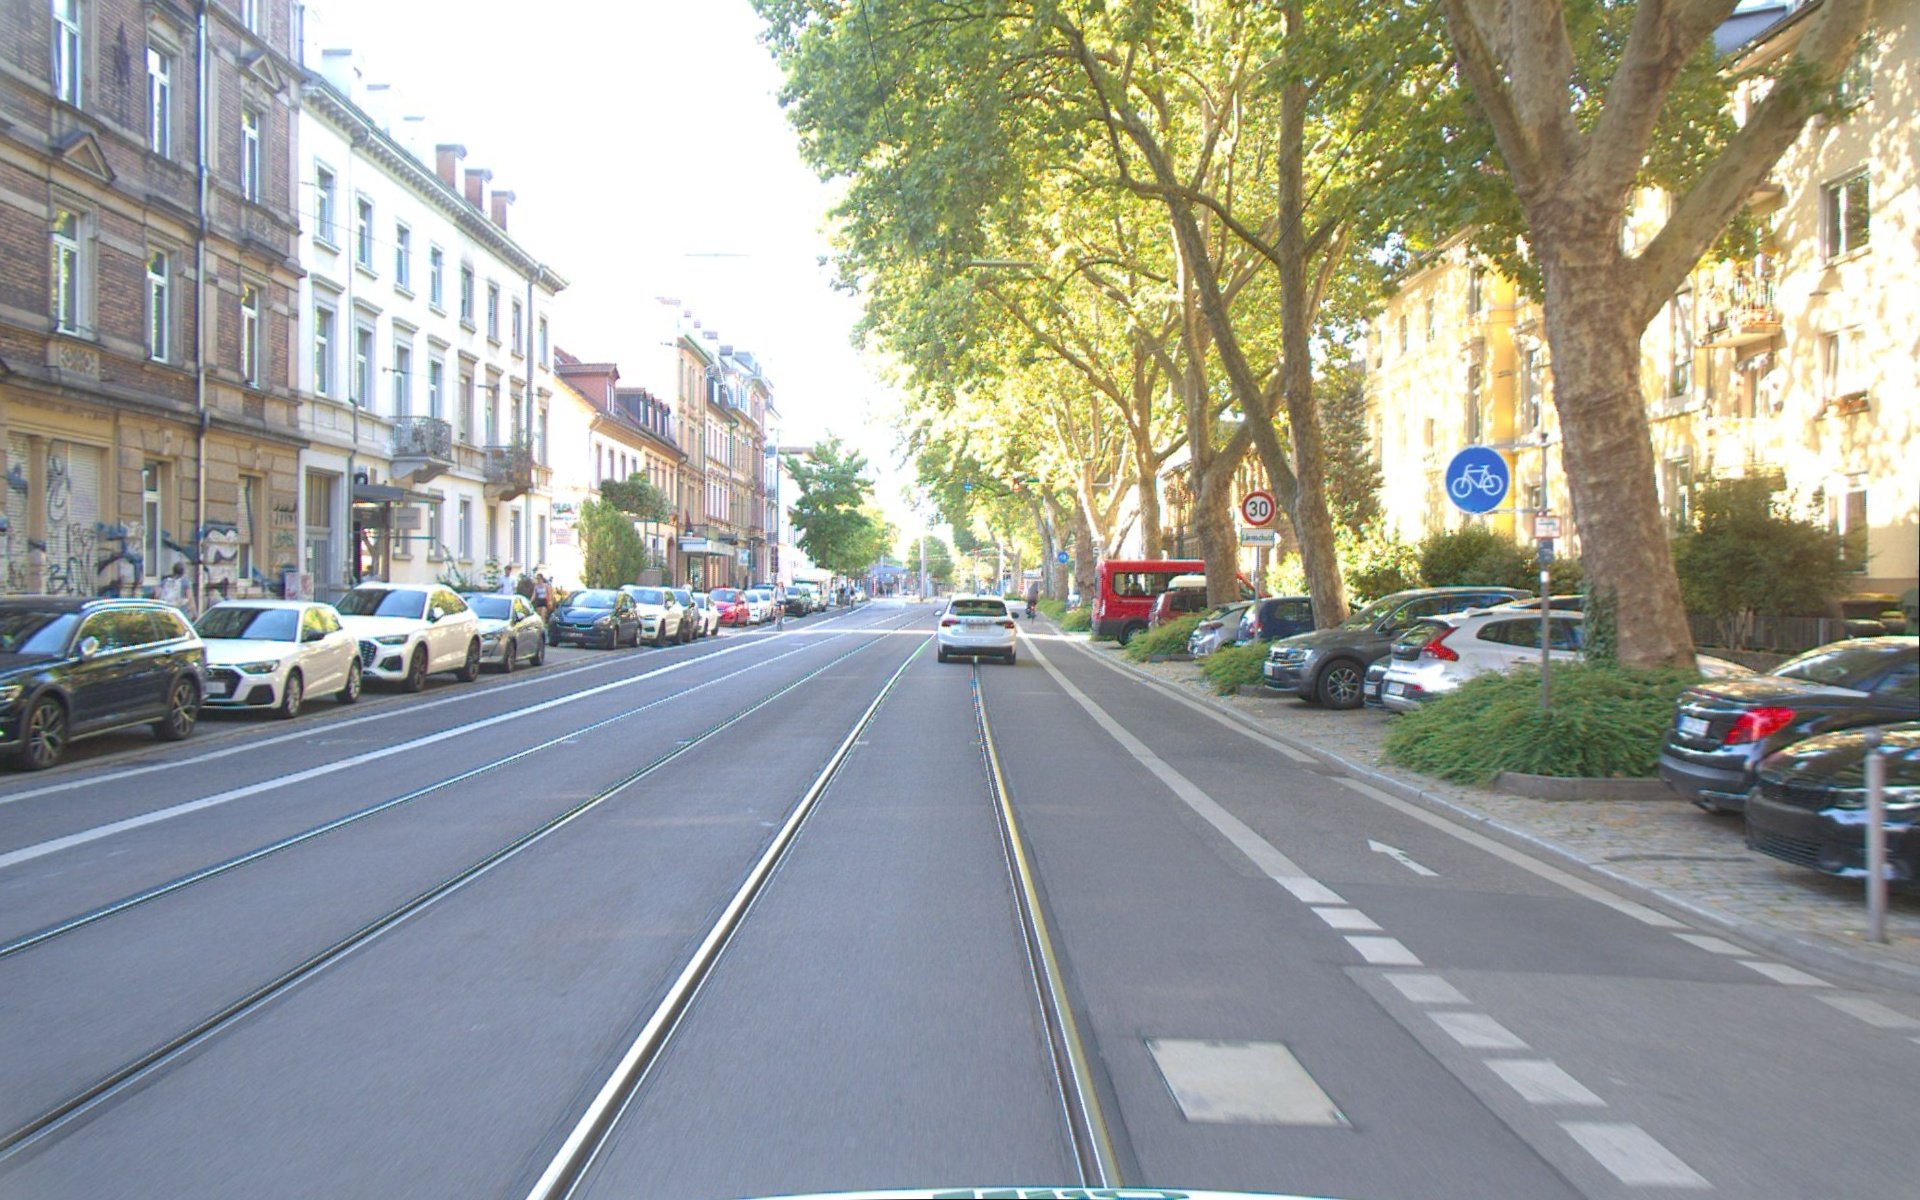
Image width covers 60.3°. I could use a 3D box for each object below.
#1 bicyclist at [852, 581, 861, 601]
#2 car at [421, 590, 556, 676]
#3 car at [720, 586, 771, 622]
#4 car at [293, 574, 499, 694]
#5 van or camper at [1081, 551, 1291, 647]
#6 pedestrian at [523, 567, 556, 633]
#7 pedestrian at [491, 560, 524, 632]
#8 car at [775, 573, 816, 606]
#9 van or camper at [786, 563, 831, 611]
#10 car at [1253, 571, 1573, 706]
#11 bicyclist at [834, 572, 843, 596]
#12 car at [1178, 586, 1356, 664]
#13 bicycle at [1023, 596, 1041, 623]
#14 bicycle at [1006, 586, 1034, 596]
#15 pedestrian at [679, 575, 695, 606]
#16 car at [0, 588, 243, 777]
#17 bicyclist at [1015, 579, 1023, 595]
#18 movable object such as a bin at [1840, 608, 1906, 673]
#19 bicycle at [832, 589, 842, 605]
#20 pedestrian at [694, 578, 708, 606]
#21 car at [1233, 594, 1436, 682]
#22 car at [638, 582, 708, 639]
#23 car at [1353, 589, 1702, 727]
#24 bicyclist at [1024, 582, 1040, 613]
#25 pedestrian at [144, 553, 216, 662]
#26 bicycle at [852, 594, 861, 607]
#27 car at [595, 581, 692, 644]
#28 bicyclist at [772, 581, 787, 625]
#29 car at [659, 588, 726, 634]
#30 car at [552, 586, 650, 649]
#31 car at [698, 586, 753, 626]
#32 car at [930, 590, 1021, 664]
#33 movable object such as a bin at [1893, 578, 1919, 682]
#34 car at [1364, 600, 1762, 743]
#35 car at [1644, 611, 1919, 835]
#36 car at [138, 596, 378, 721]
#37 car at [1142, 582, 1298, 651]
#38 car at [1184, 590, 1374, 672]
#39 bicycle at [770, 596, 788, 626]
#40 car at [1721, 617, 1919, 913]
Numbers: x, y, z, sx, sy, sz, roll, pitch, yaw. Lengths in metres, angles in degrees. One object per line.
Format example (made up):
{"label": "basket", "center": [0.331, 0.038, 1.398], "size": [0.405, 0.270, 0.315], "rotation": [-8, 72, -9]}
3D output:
{"label": "bicyclist", "center": [-7.743, -0.684, 123.683], "size": [0.625, 1.529, 1.070], "rotation": [-1, 0, 1]}
{"label": "car", "center": [-9.228, 0.606, 32.666], "size": [1.629, 1.547, 4.063], "rotation": [1, 0, -2]}
{"label": "car", "center": [-9.557, 0.144, 73.948], "size": [1.790, 1.529, 4.686], "rotation": [1, 1, -2]}
{"label": "car", "center": [-9.142, 0.502, 27.251], "size": [1.750, 1.753, 4.718], "rotation": [1, 0, 0]}
{"label": "van or camper", "center": [6.526, -0.067, 48.135], "size": [5.698, 2.563, 2.287], "rotation": [-2, 1, -2]}
{"label": "pedestrian", "center": [-12.020, 0.001, 47.284], "size": [0.744, 1.853, 0.829], "rotation": [0, 0, -3]}
{"label": "pedestrian", "center": [-13.002, -0.122, 47.547], "size": [0.744, 2.049, 0.829], "rotation": [0, 0, -2]}
{"label": "car", "center": [-9.484, -0.615, 95.747], "size": [1.925, 1.812, 4.936], "rotation": [3, 0, -2]}
{"label": "van or camper", "center": [-10.371, -0.891, 113.860], "size": [2.171, 3.195, 7.115], "rotation": [1, 0, 2]}
{"label": "car", "center": [6.648, 0.533, 24.553], "size": [4.177, 1.749, 1.848], "rotation": [-2, 0, -3]}
{"label": "bicyclist", "center": [-8.653, -1.157, 117.659], "size": [0.524, 1.663, 0.897], "rotation": [-2, 0, 2]}
{"label": "car", "center": [6.807, 0.531, 36.911], "size": [3.595, 1.550, 1.694], "rotation": [-2, 1, 0]}
{"label": "bicycle", "center": [3.199, 0.409, 73.671], "size": [0.666, 1.175, 2.964], "rotation": [1, 0, 0]}
{"label": "bicycle", "center": [6.021, -0.907, 166.911], "size": [2.711, 1.017, 0.593], "rotation": [2, 0, 15]}
{"label": "pedestrian", "center": [-14.805, -0.526, 89.660], "size": [0.759, 1.662, 0.654], "rotation": [1, 0, -16]}
{"label": "car", "center": [-9.053, 0.693, 16.584], "size": [1.705, 1.589, 4.785], "rotation": [1, 0, -1]}
{"label": "bicyclist", "center": [5.929, -1.307, 166.963], "size": [0.721, 1.616, 0.587], "rotation": [0, 0, 12]}
{"label": "movable object such as a bin", "center": [13.922, 0.616, 25.224], "size": [0.732, 0.959, 0.465], "rotation": [-1, 0, 0]}
{"label": "bicycle", "center": [-8.697, -0.212, 117.353], "size": [0.474, 1.065, 2.040], "rotation": [-2, 0, 2]}
{"label": "pedestrian", "center": [-14.074, -0.419, 89.907], "size": [0.625, 1.486, 0.654], "rotation": [1, 0, -16]}
{"label": "car", "center": [7.052, 0.704, 31.355], "size": [3.521, 1.627, 1.541], "rotation": [0, 0, 0]}
{"label": "car", "center": [-9.136, 0.293, 52.909], "size": [1.820, 1.733, 4.654], "rotation": [0, 1, -5]}
{"label": "car", "center": [7.301, 0.713, 21.511], "size": [3.946, 1.672, 1.681], "rotation": [-1, 0, -2]}
{"label": "bicyclist", "center": [3.206, -0.113, 73.781], "size": [0.665, 1.362, 0.525], "rotation": [1, 0, 0]}
{"label": "pedestrian", "center": [-12.329, 0.115, 26.162], "size": [0.650, 1.694, 0.767], "rotation": [1, 0, 31]}
{"label": "bicycle", "center": [-7.741, 0.041, 123.675], "size": [0.488, 0.959, 1.922], "rotation": [-2, 0, 2]}
{"label": "car", "center": [-9.048, 0.318, 47.587], "size": [1.818, 1.733, 4.763], "rotation": [0, 1, 1]}
{"label": "bicyclist", "center": [-6.937, 0.107, 63.536], "size": [0.463, 1.664, 0.800], "rotation": [0, 0, 0]}
{"label": "car", "center": [-9.384, 0.374, 58.355], "size": [1.652, 1.502, 4.257], "rotation": [2, 1, 0]}
{"label": "car", "center": [-9.212, 0.417, 42.692], "size": [1.521, 1.542, 3.925], "rotation": [0, 1, 2]}
{"label": "car", "center": [-9.650, 0.216, 68.227], "size": [1.536, 1.590, 3.450], "rotation": [0, 1, 4]}
{"label": "car", "center": [0.291, 0.550, 36.235], "size": [1.805, 1.506, 3.837], "rotation": [1, 0, -2]}
{"label": "movable object such as a bin", "center": [14.064, 0.413, 23.347], "size": [1.143, 1.462, 1.117], "rotation": [-1, 0, 0]}
{"label": "car", "center": [6.832, 0.779, 18.989], "size": [3.946, 1.506, 1.681], "rotation": [-1, 0, -2]}
{"label": "car", "center": [7.390, 0.859, 12.210], "size": [4.010, 1.517, 1.682], "rotation": [0, 0, 4]}
{"label": "car", "center": [-9.105, 0.702, 21.800], "size": [1.666, 1.445, 3.997], "rotation": [1, 0, -4]}
{"label": "car", "center": [6.813, 0.434, 43.540], "size": [3.742, 1.678, 1.766], "rotation": [-2, -1, -3]}
{"label": "car", "center": [6.479, 0.611, 33.843], "size": [3.522, 1.544, 1.693], "rotation": [-1, 0, 0]}
{"label": "bicycle", "center": [-6.941, 0.415, 63.435], "size": [0.471, 1.105, 1.846], "rotation": [0, 0, 1]}
{"label": "car", "center": [6.869, 0.878, 9.670], "size": [4.014, 1.517, 1.830], "rotation": [0, 0, -3]}
